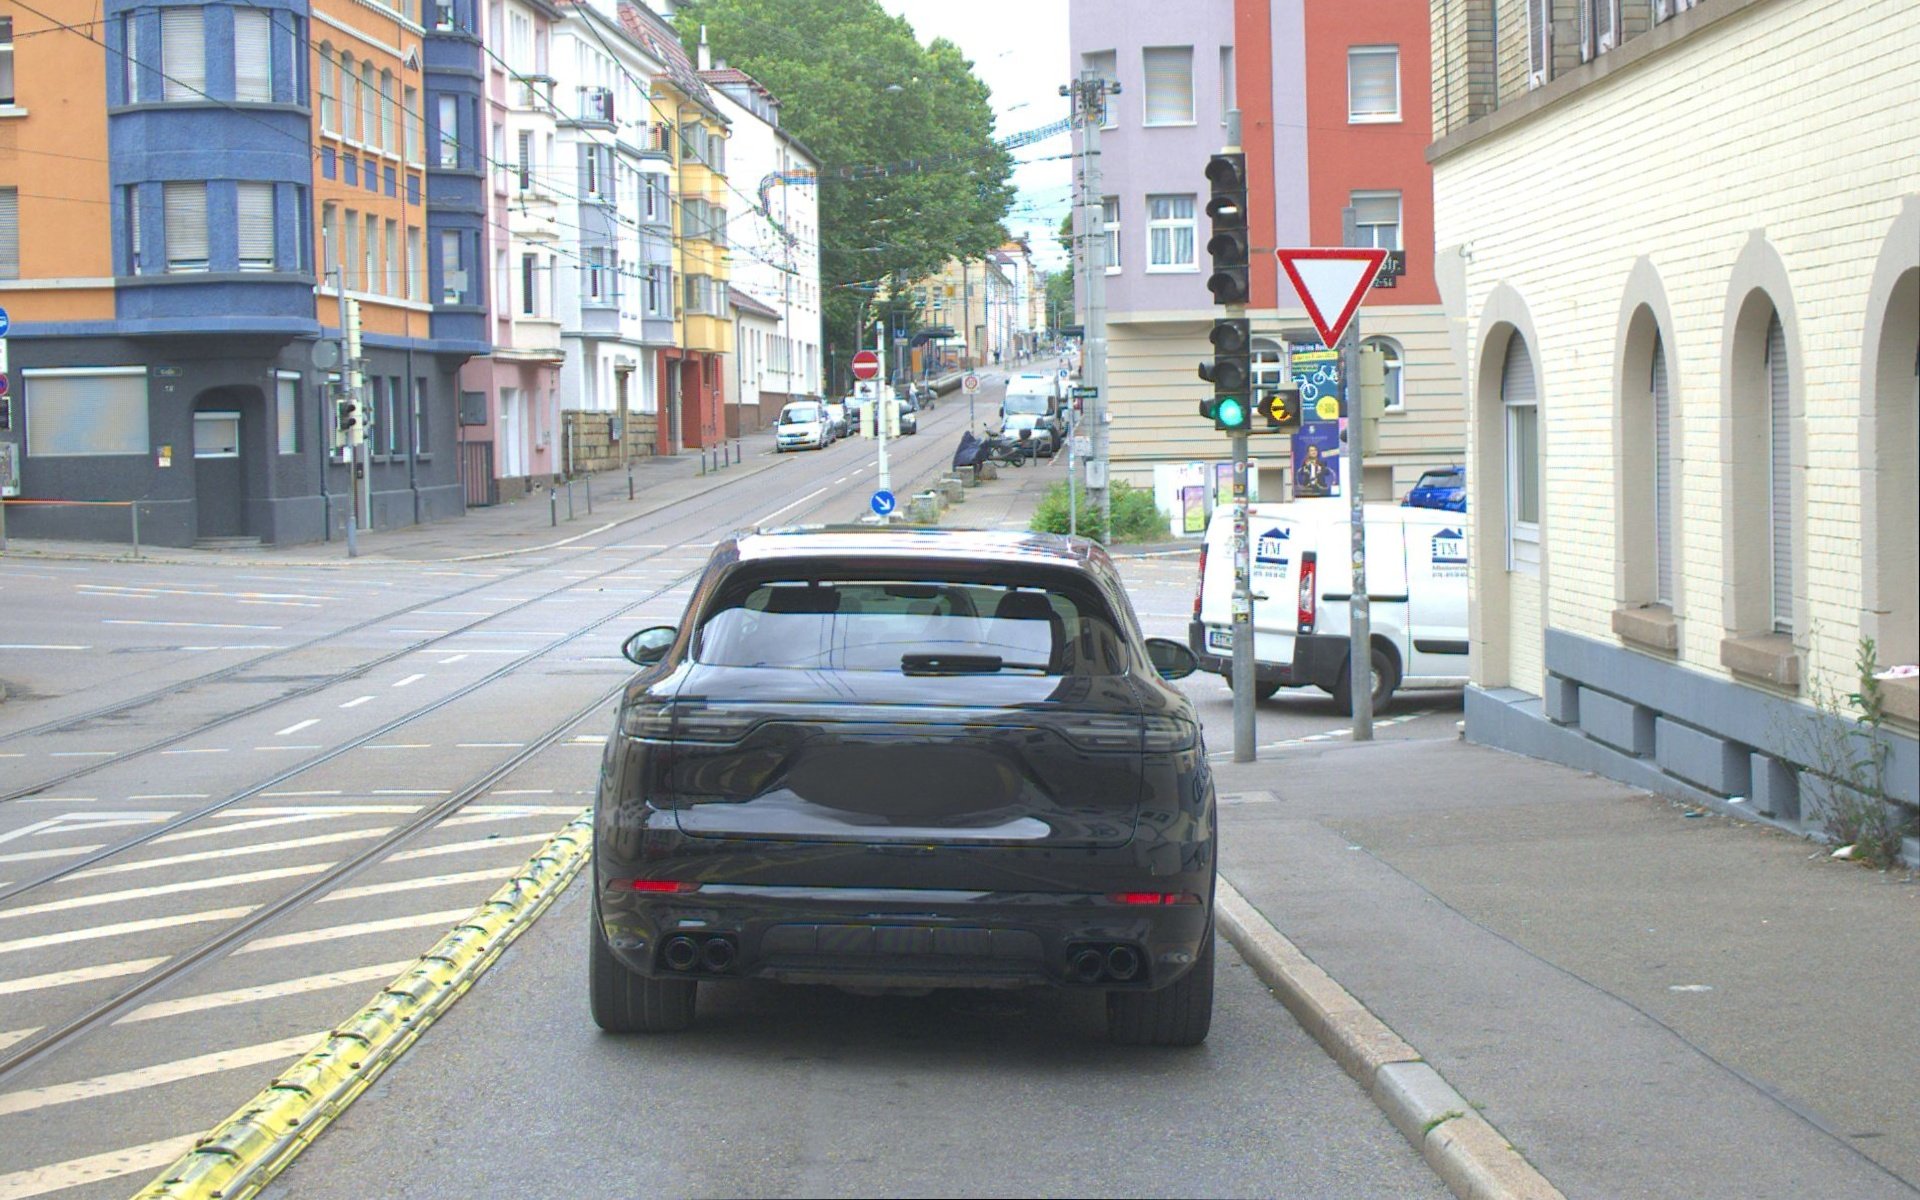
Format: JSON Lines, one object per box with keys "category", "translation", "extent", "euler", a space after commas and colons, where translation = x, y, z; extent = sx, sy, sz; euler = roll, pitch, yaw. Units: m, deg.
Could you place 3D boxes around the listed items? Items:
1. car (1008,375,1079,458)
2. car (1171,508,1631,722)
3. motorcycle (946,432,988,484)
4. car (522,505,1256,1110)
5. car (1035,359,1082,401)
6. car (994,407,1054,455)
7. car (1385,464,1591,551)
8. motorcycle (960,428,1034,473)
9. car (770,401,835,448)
{"category": "car", "translation": [3.071, -6.692, 125.045], "extent": [2.267, 2.880, 4.769], "euler": [2, 3, 4]}
{"category": "car", "translation": [4.300, 0.080, 33.294], "extent": [4.272, 1.877, 1.871], "euler": [-1, 4, -36]}
{"category": "motorcycle", "translation": [0.187, -3.955, 95.666], "extent": [0.859, 1.322, 2.185], "euler": [-6, 4, -5]}
{"category": "car", "translation": [-0.035, 0.539, 12.180], "extent": [2.024, 1.636, 4.355], "euler": [3, 2, 6]}
{"category": "car", "translation": [5.347, -11.866, 185.818], "extent": [2.267, 2.176, 4.769], "euler": [2, 3, 4]}
{"category": "car", "translation": [2.253, -5.877, 119.385], "extent": [1.840, 1.563, 3.819], "euler": [2, 3, 4]}
{"category": "car", "translation": [10.728, -1.906, 69.743], "extent": [4.130, 1.529, 1.918], "euler": [-4, 7, -42]}
{"category": "motorcycle", "translation": [1.140, -4.628, 106.178], "extent": [2.176, 1.322, 0.700], "euler": [1, 3, -6]}
{"category": "car", "translation": [-6.001, -6.704, 131.224], "extent": [1.994, 1.686, 4.000], "euler": [2, 3, 4]}
